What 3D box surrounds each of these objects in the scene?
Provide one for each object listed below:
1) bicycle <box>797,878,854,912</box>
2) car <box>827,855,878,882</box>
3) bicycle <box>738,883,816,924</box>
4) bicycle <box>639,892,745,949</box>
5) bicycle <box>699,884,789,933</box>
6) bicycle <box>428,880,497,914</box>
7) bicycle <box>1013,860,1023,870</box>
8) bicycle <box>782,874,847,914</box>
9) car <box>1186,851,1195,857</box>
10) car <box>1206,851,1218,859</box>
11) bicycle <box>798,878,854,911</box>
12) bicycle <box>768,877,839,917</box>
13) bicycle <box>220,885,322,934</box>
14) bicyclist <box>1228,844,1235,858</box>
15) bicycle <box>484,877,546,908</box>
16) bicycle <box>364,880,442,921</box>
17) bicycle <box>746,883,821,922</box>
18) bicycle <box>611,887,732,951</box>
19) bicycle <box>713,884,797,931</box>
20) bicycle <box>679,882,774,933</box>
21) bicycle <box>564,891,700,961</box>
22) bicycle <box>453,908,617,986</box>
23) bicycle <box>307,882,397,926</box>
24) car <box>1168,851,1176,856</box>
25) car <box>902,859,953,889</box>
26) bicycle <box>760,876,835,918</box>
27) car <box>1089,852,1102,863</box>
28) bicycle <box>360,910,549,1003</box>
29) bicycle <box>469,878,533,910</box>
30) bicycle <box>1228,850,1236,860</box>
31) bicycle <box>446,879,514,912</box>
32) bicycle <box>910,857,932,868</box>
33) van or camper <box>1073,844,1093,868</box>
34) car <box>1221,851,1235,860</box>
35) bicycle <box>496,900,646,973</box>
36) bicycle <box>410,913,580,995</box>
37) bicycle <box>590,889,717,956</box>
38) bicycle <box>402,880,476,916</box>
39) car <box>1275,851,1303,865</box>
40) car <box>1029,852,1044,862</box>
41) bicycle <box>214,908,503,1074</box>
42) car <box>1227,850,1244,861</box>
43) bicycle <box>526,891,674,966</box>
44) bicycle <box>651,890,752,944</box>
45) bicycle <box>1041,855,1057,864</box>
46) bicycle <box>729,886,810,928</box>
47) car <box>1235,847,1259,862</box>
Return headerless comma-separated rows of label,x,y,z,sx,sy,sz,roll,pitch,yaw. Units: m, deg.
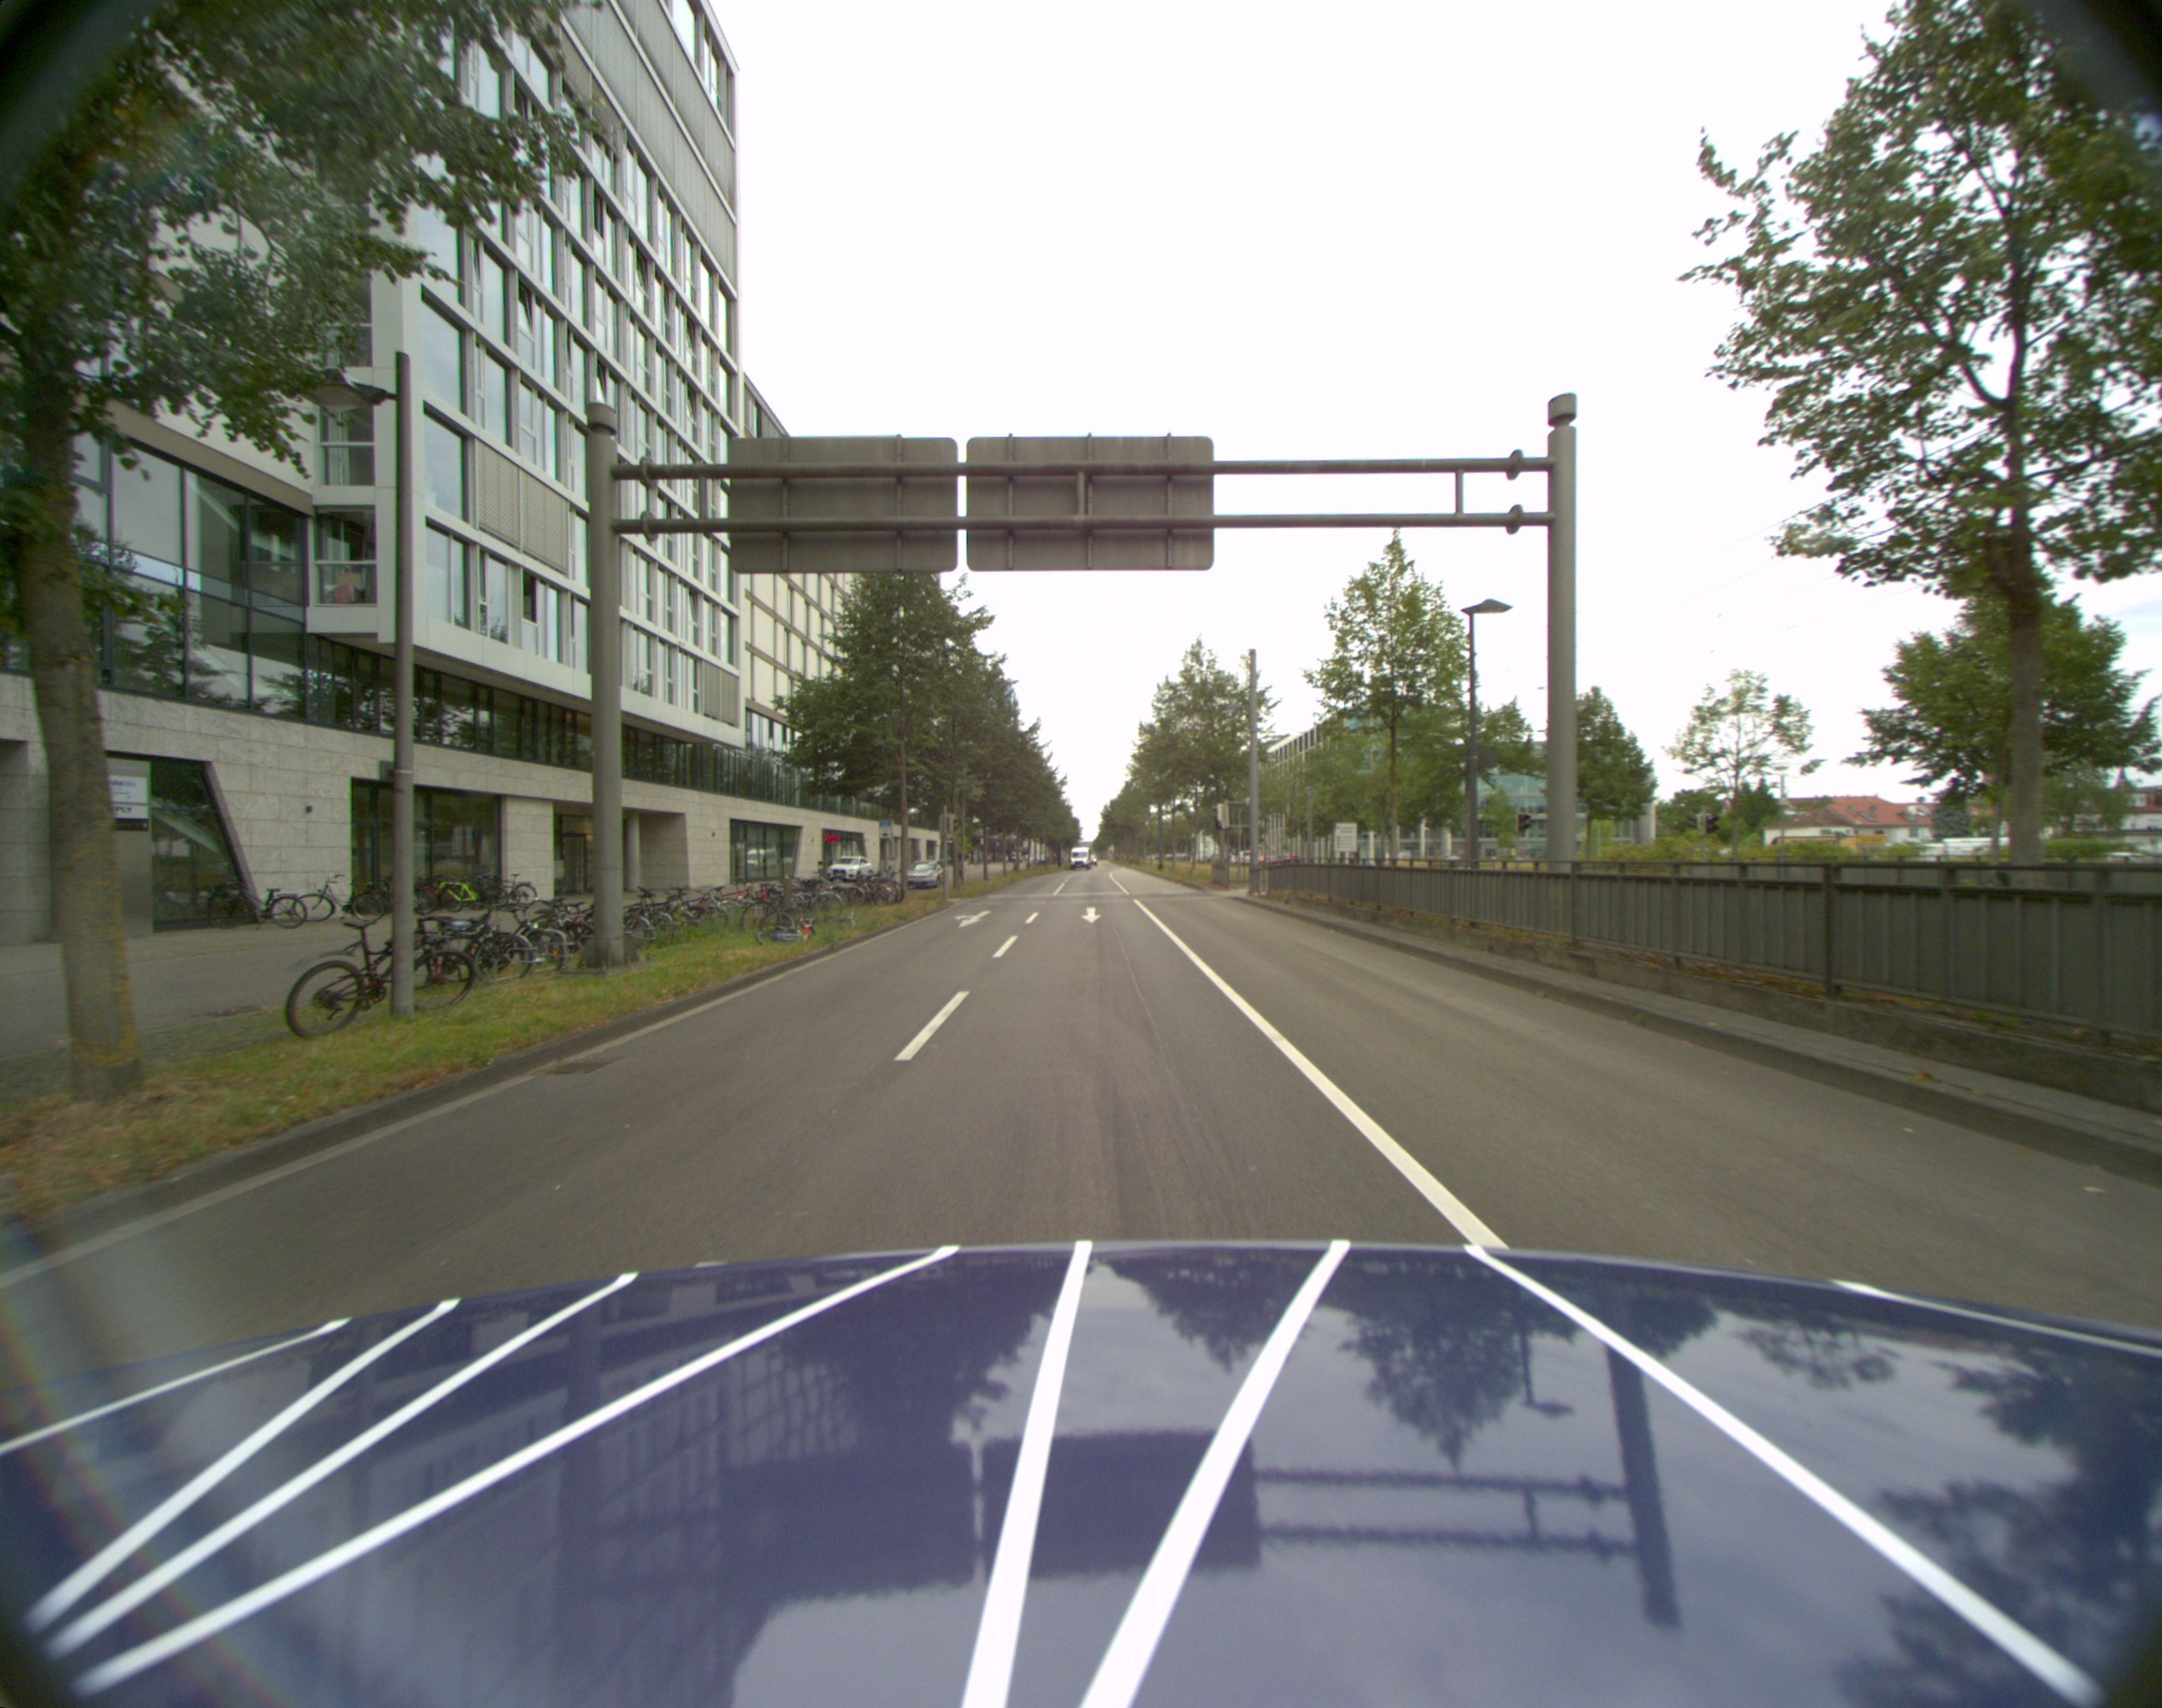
bicycle,-7.815,1.242,23.261,1.533,0.948,0.484,-3,1,-2
car,-14.401,0.870,48.045,1.862,1.579,4.240,2,0,1
bicycle,-7.838,1.282,19.662,1.720,0.900,0.588,-4,1,-8
bicycle,-7.861,1.333,15.411,1.749,0.968,0.609,-4,1,-8
bicycle,-7.828,1.259,17.717,1.749,0.968,0.609,-4,1,-8
bicycle,-17.826,1.229,21.914,1.533,0.948,0.533,0,1,-2
bicycle,-5.826,1.028,70.182,0.634,0.871,2.115,-3,1,2
bicycle,-7.883,1.184,22.525,1.672,1.084,0.525,-3,1,-2
car,25.851,-0.005,179.983,1.752,1.448,3.865,-1,0,2
car,24.301,0.247,141.260,1.752,1.448,3.865,-1,0,2
bicycle,-8.065,1.281,24.035,1.533,0.948,0.552,-3,1,-2
bicycle,-7.899,1.218,21.695,1.778,1.006,0.610,-3,0,-8
bicycle,-17.551,1.203,16.483,1.602,1.020,0.533,0,1,-2
bicyclist,22.866,-0.467,115.769,0.742,2.002,0.995,-3,1,-2
bicycle,-17.879,1.219,24.020,1.533,0.948,0.533,0,1,-2
bicycle,-17.844,1.223,20.013,1.533,1.020,0.533,0,1,-2
bicycle,-7.913,1.283,20.276,1.720,0.900,0.588,-4,1,-8
bicycle,-7.932,1.254,14.764,1.935,1.059,0.543,-4,1,-8
bicycle,-7.855,1.273,18.367,1.720,0.968,0.609,-4,1,-8
bicycle,-7.844,1.174,16.876,1.749,0.968,0.609,-4,1,-8
bicycle,-7.913,1.257,13.454,1.935,1.059,0.641,-4,1,-2
bicycle,-8.055,1.362,11.263,1.865,0.946,0.652,-4,1,-2
bicycle,-17.561,1.200,18.328,1.602,1.020,0.533,0,1,-2
car,24.092,-0.162,201.592,1.752,1.448,3.865,-1,0,2
car,-7.996,1.018,39.919,1.765,1.413,4.182,-1,0,1
bicycle,-7.817,1.189,21.002,1.778,1.006,0.610,-4,1,-8
car,2.110,0.543,110.879,1.973,1.529,4.139,0,0,1
bicycle,-8.058,1.307,9.827,1.865,0.989,0.574,-4,1,-2
bicycle,-17.858,1.229,23.402,1.533,0.948,0.533,0,1,-2
bicycle,22.891,0.185,115.253,0.711,1.479,2.357,-3,0,-1
bicycle,-17.808,1.222,22.520,1.533,0.948,0.533,0,1,-2
bicycle,-17.669,0.886,83.840,2.238,1.170,0.975,-1,1,-7
van or camper,0.237,0.216,86.212,2.183,2.494,6.339,-2,0,0
car,23.116,0.211,119.646,1.752,1.448,3.865,-1,0,3
bicycle,-8.016,1.287,12.003,1.865,0.946,0.612,-4,1,-2
bicycle,-8.072,1.371,10.514,1.865,0.946,0.501,-4,1,-2
bicycle,-7.950,1.260,14.185,1.935,1.059,0.543,-4,1,-8
bicycle,-17.805,1.214,21.090,1.533,0.948,0.533,0,1,-2
car,23.857,0.433,87.224,1.832,1.647,4.691,-1,0,-1
car,-6.849,0.473,116.994,1.954,1.521,3.999,-1,0,0
bicycle,-6.515,1.149,7.080,0.712,1.109,2.202,-4,0,-7
car,22.210,0.244,109.209,1.753,1.488,3.865,-1,0,1
bicycle,-7.999,1.225,12.694,1.935,1.059,0.705,-4,1,-2
bicycle,-7.981,1.318,16.032,1.749,0.968,0.609,-4,1,-8
bicycle,-3.686,0.614,88.518,1.790,1.013,0.422,-3,1,-14
bicycle,-7.779,1.310,19.027,1.720,0.900,0.588,-4,1,-8
car,21.430,0.085,98.340,1.998,1.933,5.096,-1,0,0
